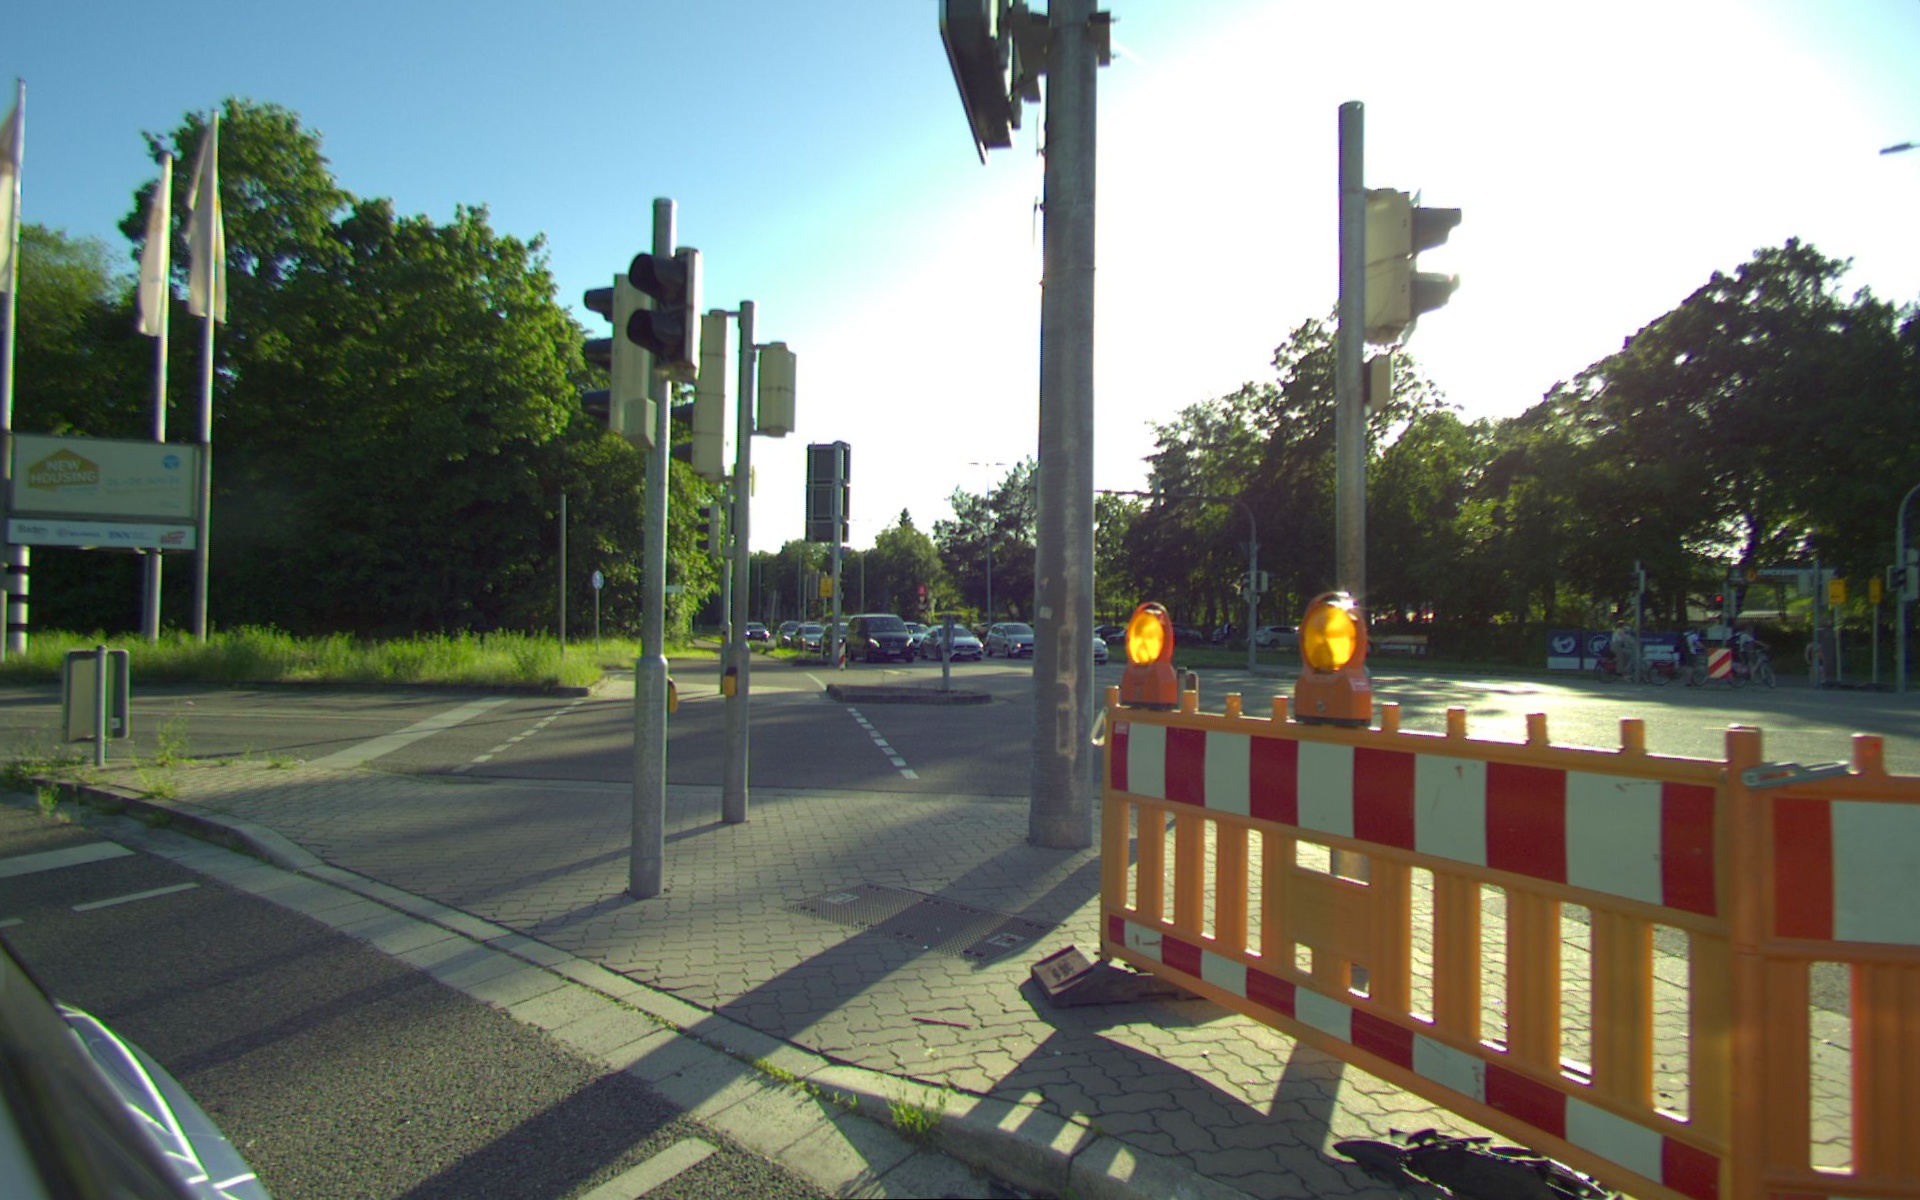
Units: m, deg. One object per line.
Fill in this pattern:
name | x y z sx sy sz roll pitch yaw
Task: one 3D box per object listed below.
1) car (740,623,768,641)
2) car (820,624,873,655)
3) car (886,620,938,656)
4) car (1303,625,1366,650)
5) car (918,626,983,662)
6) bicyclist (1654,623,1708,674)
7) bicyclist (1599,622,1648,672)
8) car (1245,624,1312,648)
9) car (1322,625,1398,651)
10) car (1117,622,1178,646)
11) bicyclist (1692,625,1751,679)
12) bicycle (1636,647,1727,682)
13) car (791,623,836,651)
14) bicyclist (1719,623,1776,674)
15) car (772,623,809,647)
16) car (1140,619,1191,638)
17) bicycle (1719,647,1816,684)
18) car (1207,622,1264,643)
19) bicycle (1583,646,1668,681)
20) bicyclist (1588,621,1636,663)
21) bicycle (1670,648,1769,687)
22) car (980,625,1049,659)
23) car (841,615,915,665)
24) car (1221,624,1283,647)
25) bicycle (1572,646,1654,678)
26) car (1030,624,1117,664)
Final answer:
car | -16.647 2.556 81.670 1.822 1.400 3.811 1 -1 -17
car | -5.444 1.857 48.102 1.822 1.400 3.811 1 -1 -17
car | -2.338 1.790 48.518 1.619 1.638 4.011 1 -1 -16
car | 24.382 2.444 65.965 3.443 1.612 1.819 1 -1 -14
car | -0.447 1.768 41.331 1.620 1.400 3.811 1 -1 -17
bicyclist | 19.730 1.318 27.717 0.980 1.366 0.714 0 -1 12
bicyclist | 19.070 1.332 29.104 0.980 1.400 0.710 0 -1 12
car | 22.231 2.515 70.715 4.088 1.612 1.815 0 -1 -4
car | 24.995 2.360 63.286 4.126 1.612 1.819 1 -1 -14
car | 13.637 2.473 73.851 3.937 1.631 1.946 1 -1 -7
bicyclist | 19.440 1.314 25.852 0.980 1.349 0.714 0 -1 12
bicycle | 19.732 1.756 27.707 1.891 0.921 0.714 0 -1 12
car | -7.840 1.958 54.055 1.822 1.400 3.811 1 -1 -17
bicyclist | 21.321 1.313 27.412 0.980 1.352 0.714 0 -1 12
car | -10.568 2.160 62.982 1.822 1.400 3.811 1 -1 -17
car | 17.653 2.431 87.056 3.911 1.612 1.815 0 -1 -4
bicycle | 21.762 1.758 27.303 1.891 0.921 0.714 0 -1 12
car | 21.414 2.515 78.730 3.911 1.612 1.815 0 -1 -4
bicycle | 19.099 1.818 29.082 1.891 0.921 0.714 0 -1 12
bicyclist | 19.313 1.233 29.985 0.980 1.201 0.714 0 -1 12
bicycle | 19.382 1.710 25.858 1.891 0.921 0.714 0 -1 12
car | 2.356 1.816 44.403 1.822 1.400 3.811 1 -1 -17
car | -3.316 1.535 40.106 1.895 1.844 4.948 1 -1 -17
car | 21.221 2.576 73.668 3.911 1.612 1.815 0 -1 -4
bicycle | 19.309 1.830 29.969 1.891 0.921 0.714 -1 -1 12
car | 4.172 1.603 37.877 1.895 1.400 3.811 1 -1 -17
